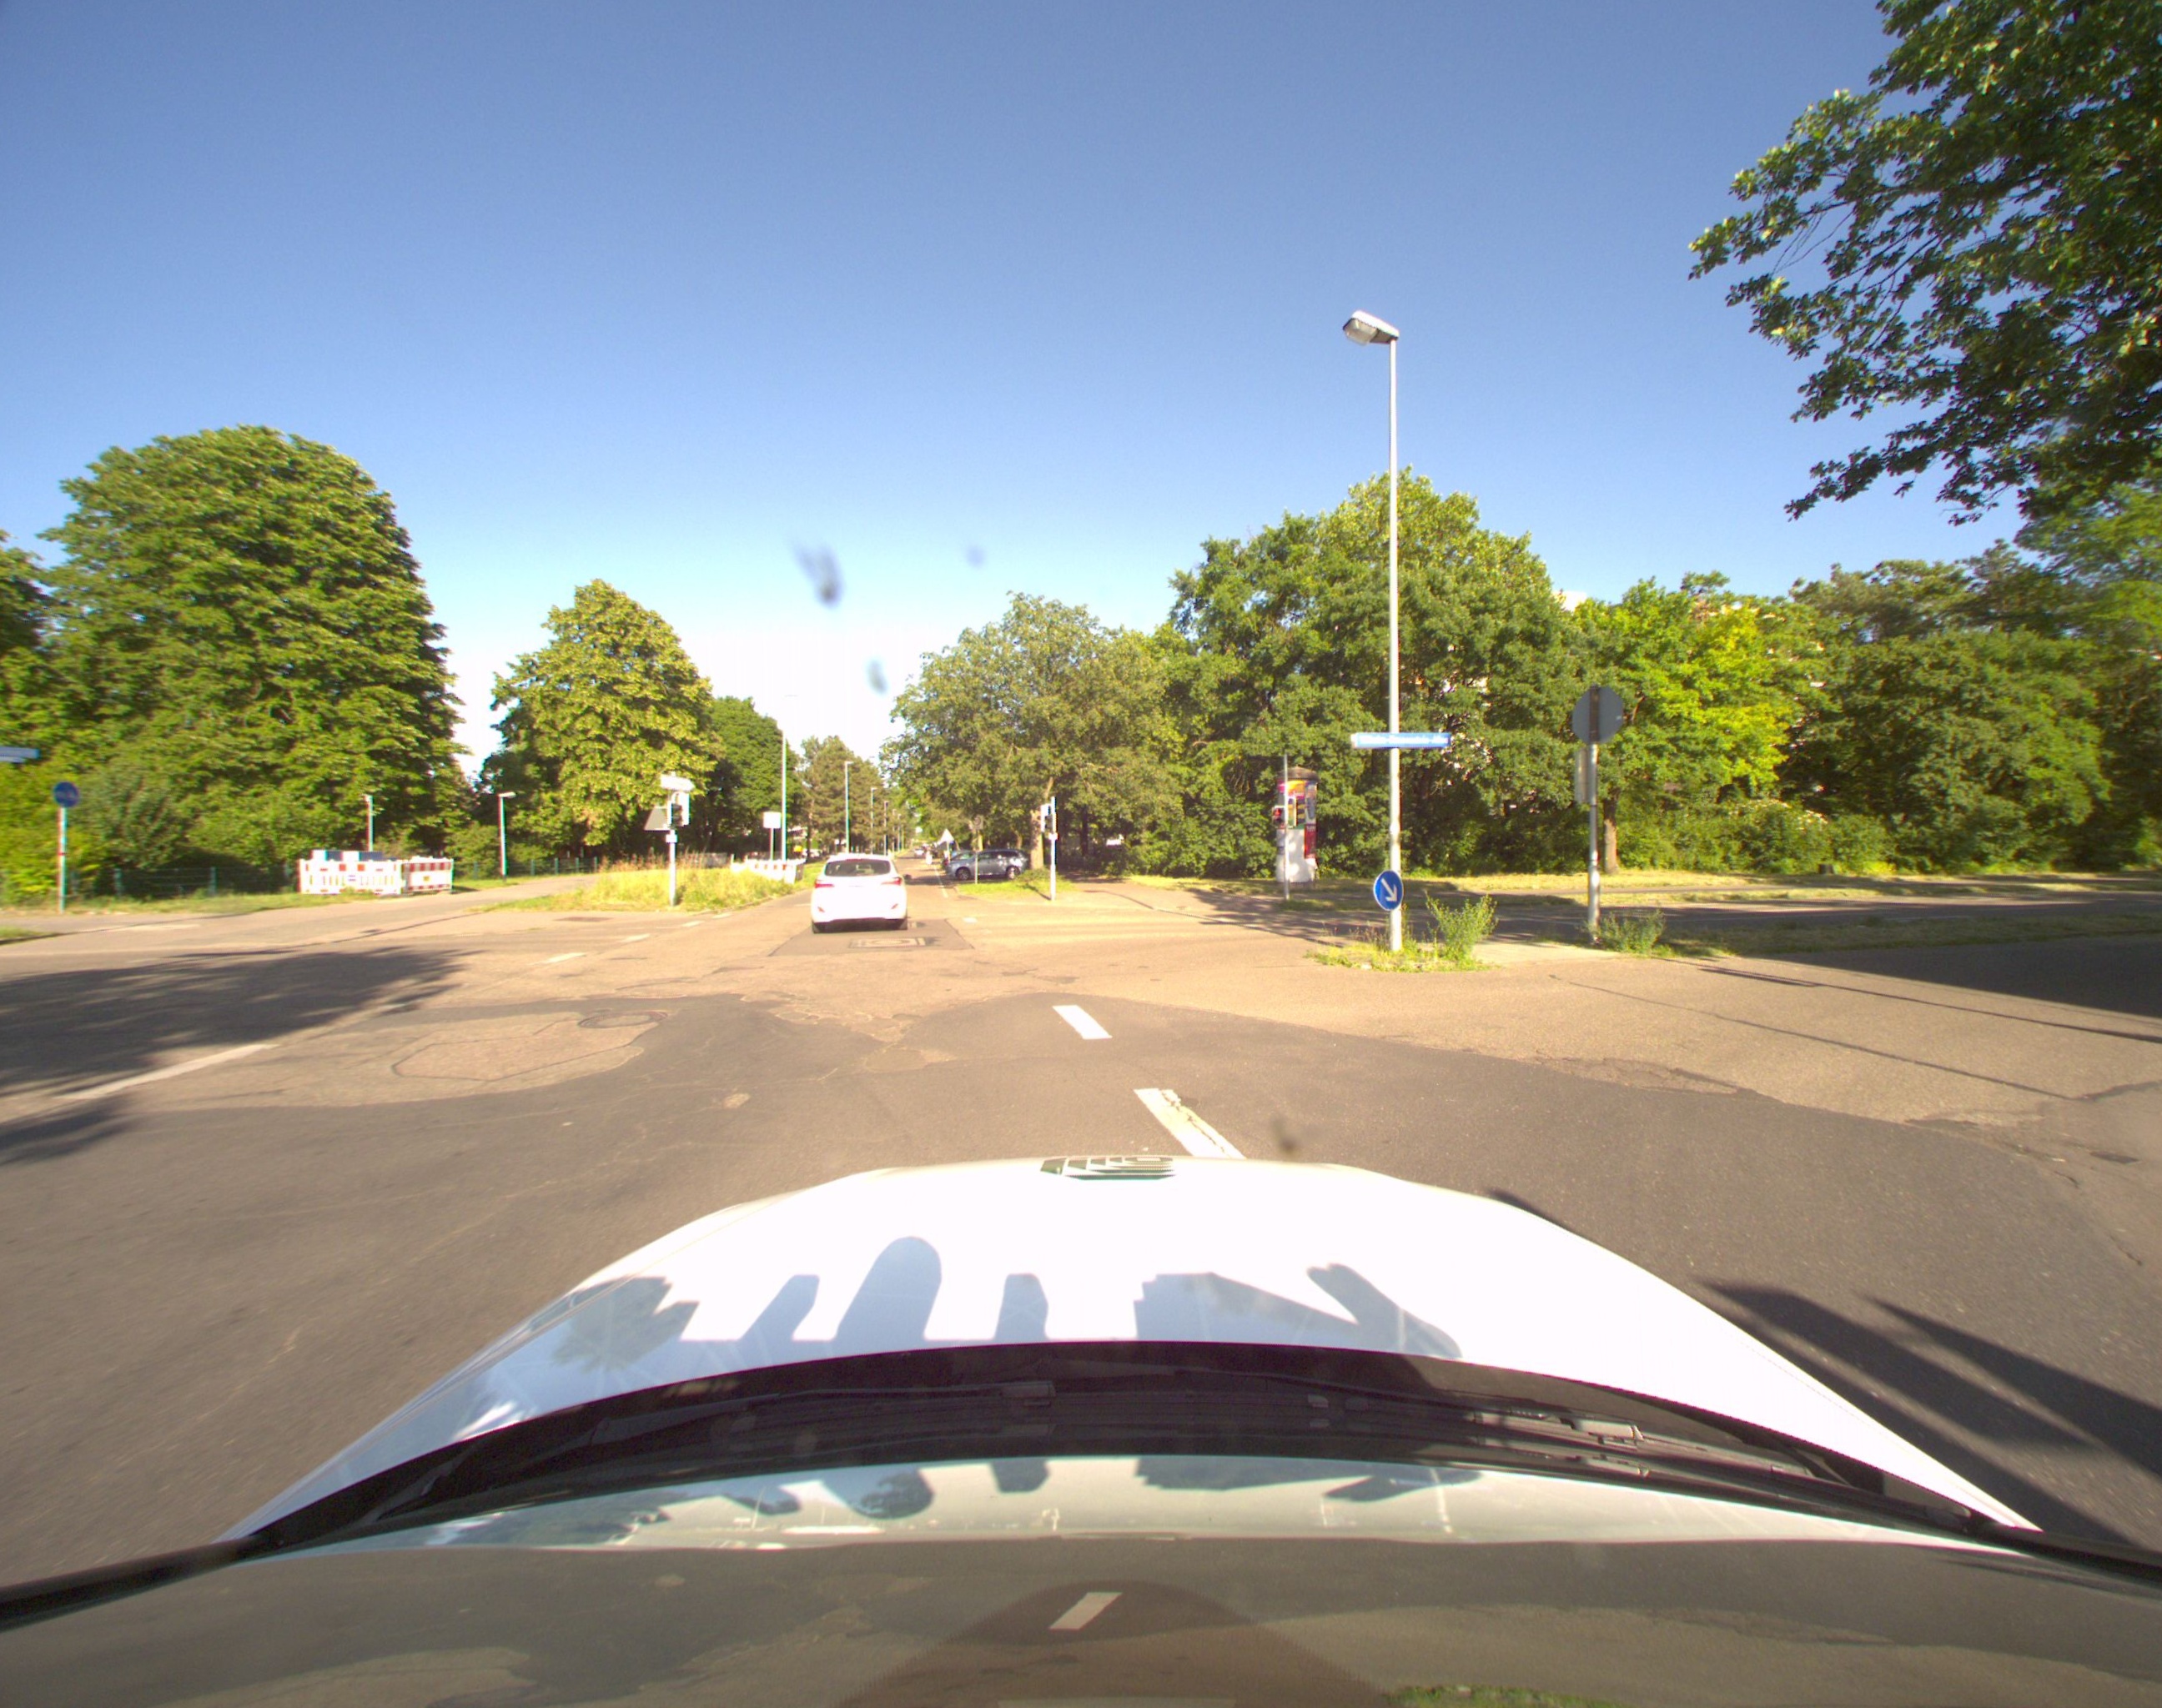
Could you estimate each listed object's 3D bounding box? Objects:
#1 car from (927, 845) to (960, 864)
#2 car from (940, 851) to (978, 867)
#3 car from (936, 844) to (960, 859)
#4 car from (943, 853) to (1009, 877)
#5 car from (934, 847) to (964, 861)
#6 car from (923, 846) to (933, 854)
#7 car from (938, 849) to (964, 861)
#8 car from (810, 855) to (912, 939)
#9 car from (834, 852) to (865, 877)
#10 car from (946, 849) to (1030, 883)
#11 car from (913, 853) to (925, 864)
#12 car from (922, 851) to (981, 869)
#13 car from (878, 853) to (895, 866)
[{"bbox_3d":[-16.153,0.076,95.588,3.820,2.098,1.856,1,-1,-11],"label":"car"},{"bbox_3d":[-12.905,0.540,86.033,3.820,1.684,1.856,1,-1,-11],"label":"car"},{"bbox_3d":[-21.924,-0.386,133.811,3.820,2.299,1.856,1,-1,-11],"label":"car"},{"bbox_3d":[-7.303,0.732,56.925,4.497,1.630,1.849,0,0,-9],"label":"car"},{"bbox_3d":[-19.889,0.011,122.596,4.303,1.908,1.856,1,-1,-11],"label":"car"},{"bbox_3d":[-34.139,-0.827,181.668,1.994,1.816,3.986,1,-1,-10],"label":"car"},{"bbox_3d":[-19.095,0.160,119.554,3.820,1.767,1.856,1,-1,-11],"label":"car"},{"bbox_3d":[-4.397,0.780,16.763,1.791,1.463,3.947,0,0,-12],"label":"car"},{"bbox_3d":[-18.882,0.809,66.561,1.994,1.815,3.986,-3,2,-10],"label":"car"},{"bbox_3d":[-5.132,0.634,44.918,4.497,1.783,1.849,0,0,-9],"label":"car"},{"bbox_3d":[-28.605,0.768,144.125,1.994,1.816,3.986,2,0,-10],"label":"car"},{"bbox_3d":[-12.686,0.596,79.743,5.616,1.684,1.941,1,-1,-11],"label":"car"},{"bbox_3d":[-27.209,0.746,113.938,1.994,1.816,3.986,1,-1,-10],"label":"car"}]
